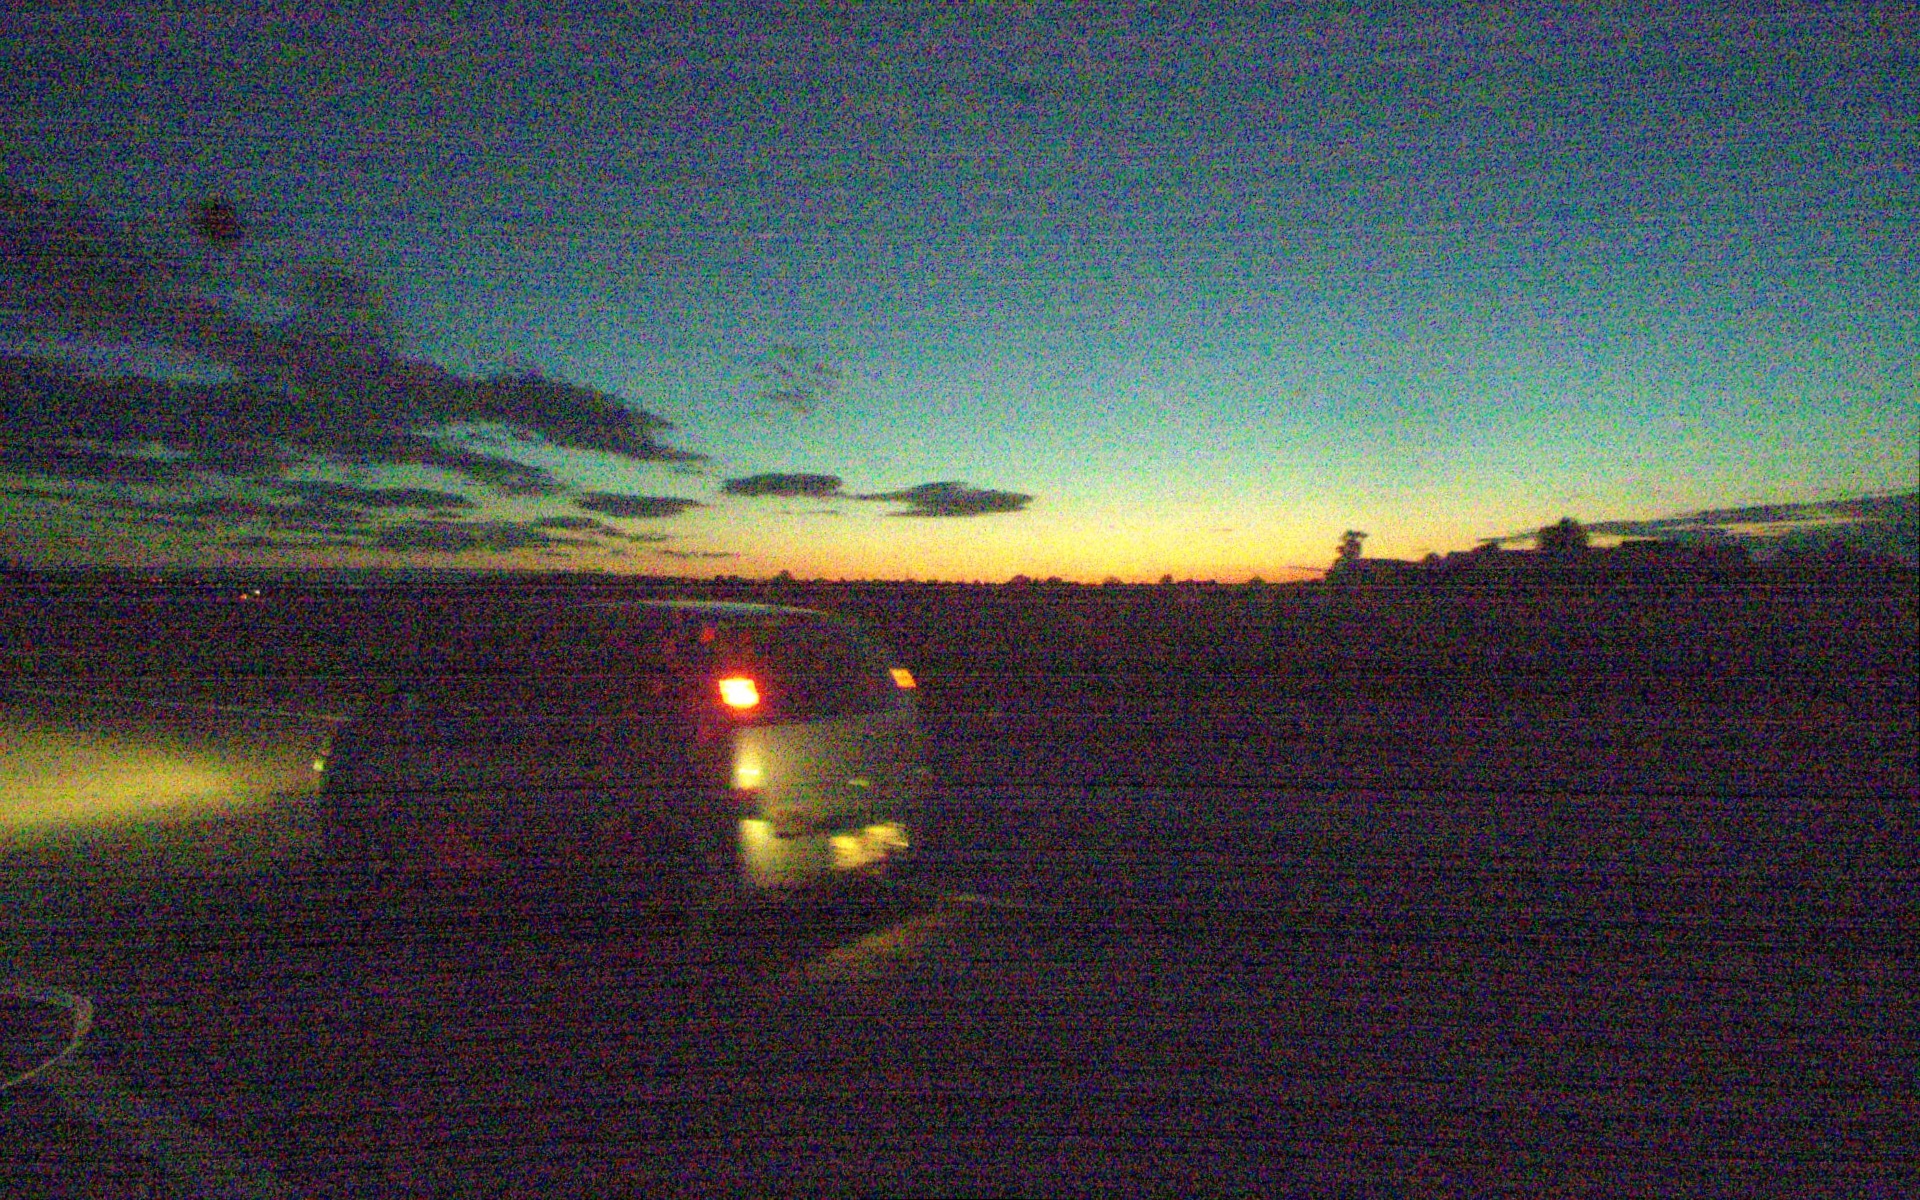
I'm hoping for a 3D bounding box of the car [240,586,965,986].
[{"bbox_3d":[-2.282,0.777,5.921,4.444,1.618,1.643,-1,0,32],"label":"car"}]
